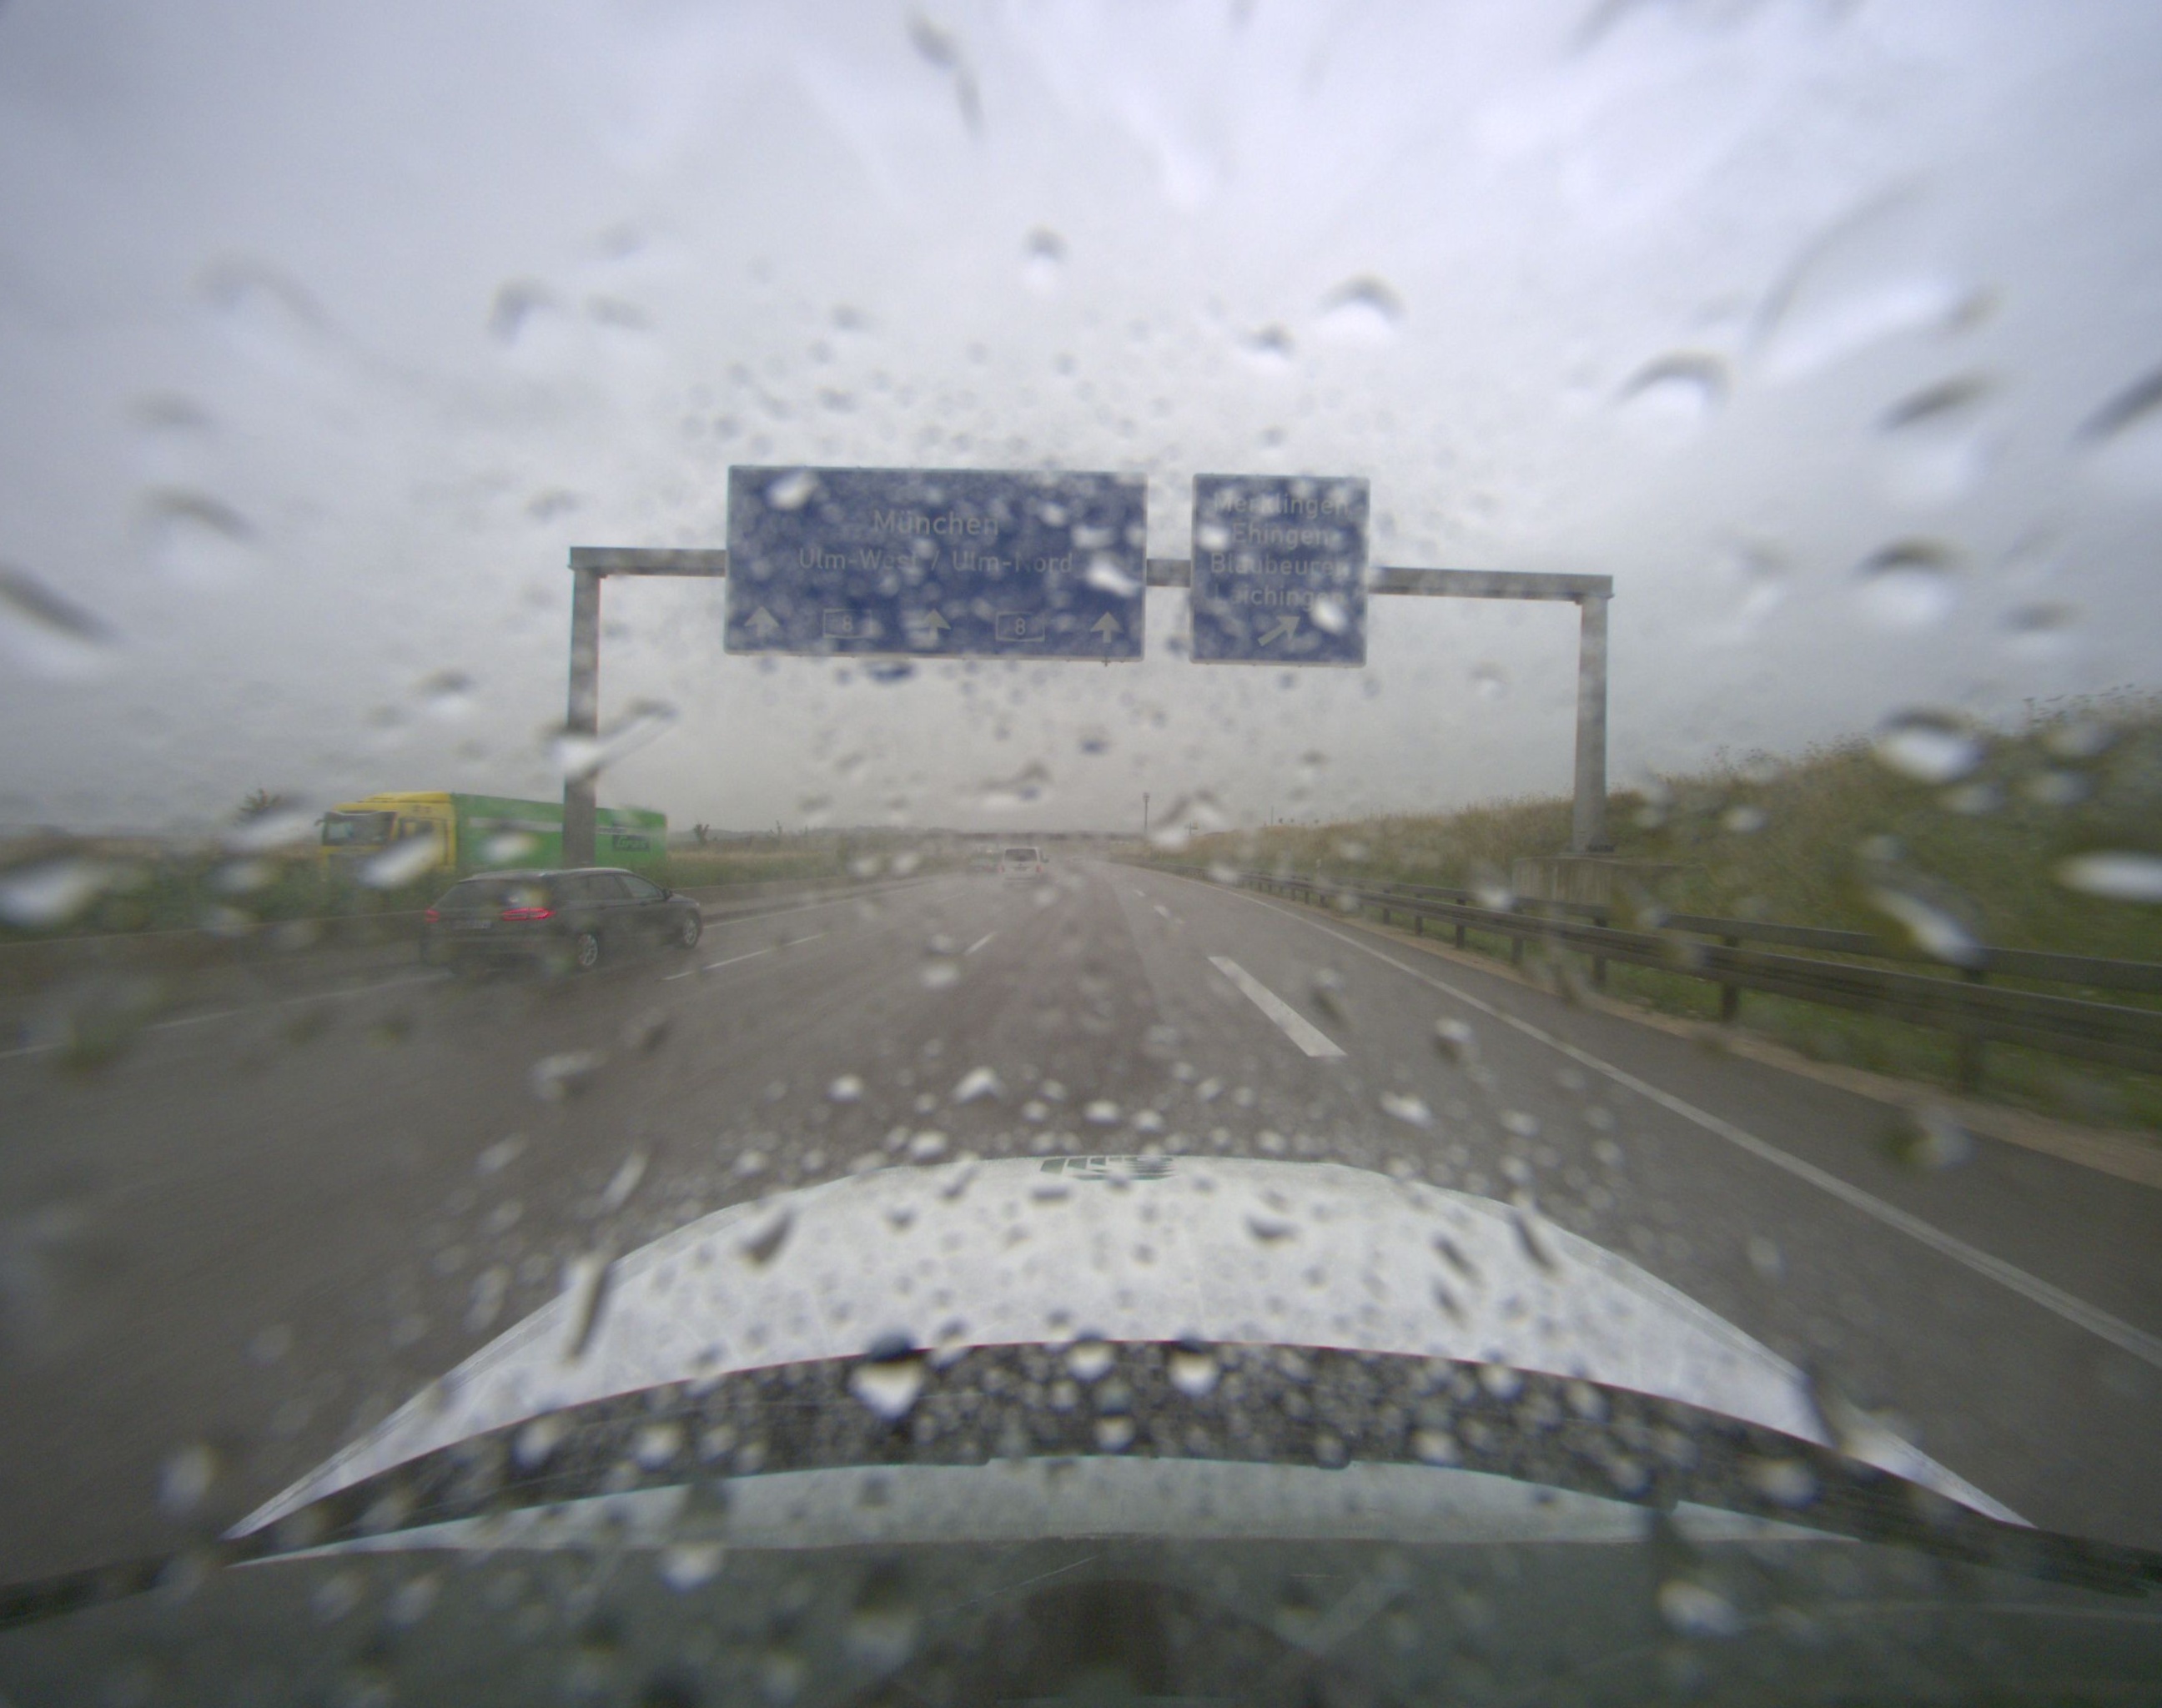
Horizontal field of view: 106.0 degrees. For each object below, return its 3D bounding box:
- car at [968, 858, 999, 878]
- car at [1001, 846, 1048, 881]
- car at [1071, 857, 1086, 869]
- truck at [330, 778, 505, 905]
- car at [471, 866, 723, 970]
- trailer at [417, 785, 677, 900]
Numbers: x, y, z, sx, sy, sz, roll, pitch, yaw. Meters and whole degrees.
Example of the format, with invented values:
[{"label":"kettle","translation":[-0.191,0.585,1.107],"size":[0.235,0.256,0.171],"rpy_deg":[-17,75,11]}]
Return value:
[{"label":"car","translation":[-6.381,0.910,53.468],"size":[1.462,1.257,3.341],"rpy_deg":[-1,0,2]},{"label":"car","translation":[-2.607,0.430,38.515],"size":[1.891,1.585,4.001],"rpy_deg":[0,0,1]},{"label":"car","translation":[-0.277,0.887,81.903],"size":[1.463,1.208,2.991],"rpy_deg":[-1,0,0]},{"label":"truck","translation":[-22.648,-0.378,28.116],"size":[2.002,3.991,4.821],"rpy_deg":[-1,0,2]},{"label":"car","translation":[-7.497,0.900,13.134],"size":[1.607,1.354,4.001],"rpy_deg":[0,0,1]},{"label":"trailer","translation":[-22.540,-0.403,36.107],"size":[1.987,4.040,14.303],"rpy_deg":[-1,0,1]}]
